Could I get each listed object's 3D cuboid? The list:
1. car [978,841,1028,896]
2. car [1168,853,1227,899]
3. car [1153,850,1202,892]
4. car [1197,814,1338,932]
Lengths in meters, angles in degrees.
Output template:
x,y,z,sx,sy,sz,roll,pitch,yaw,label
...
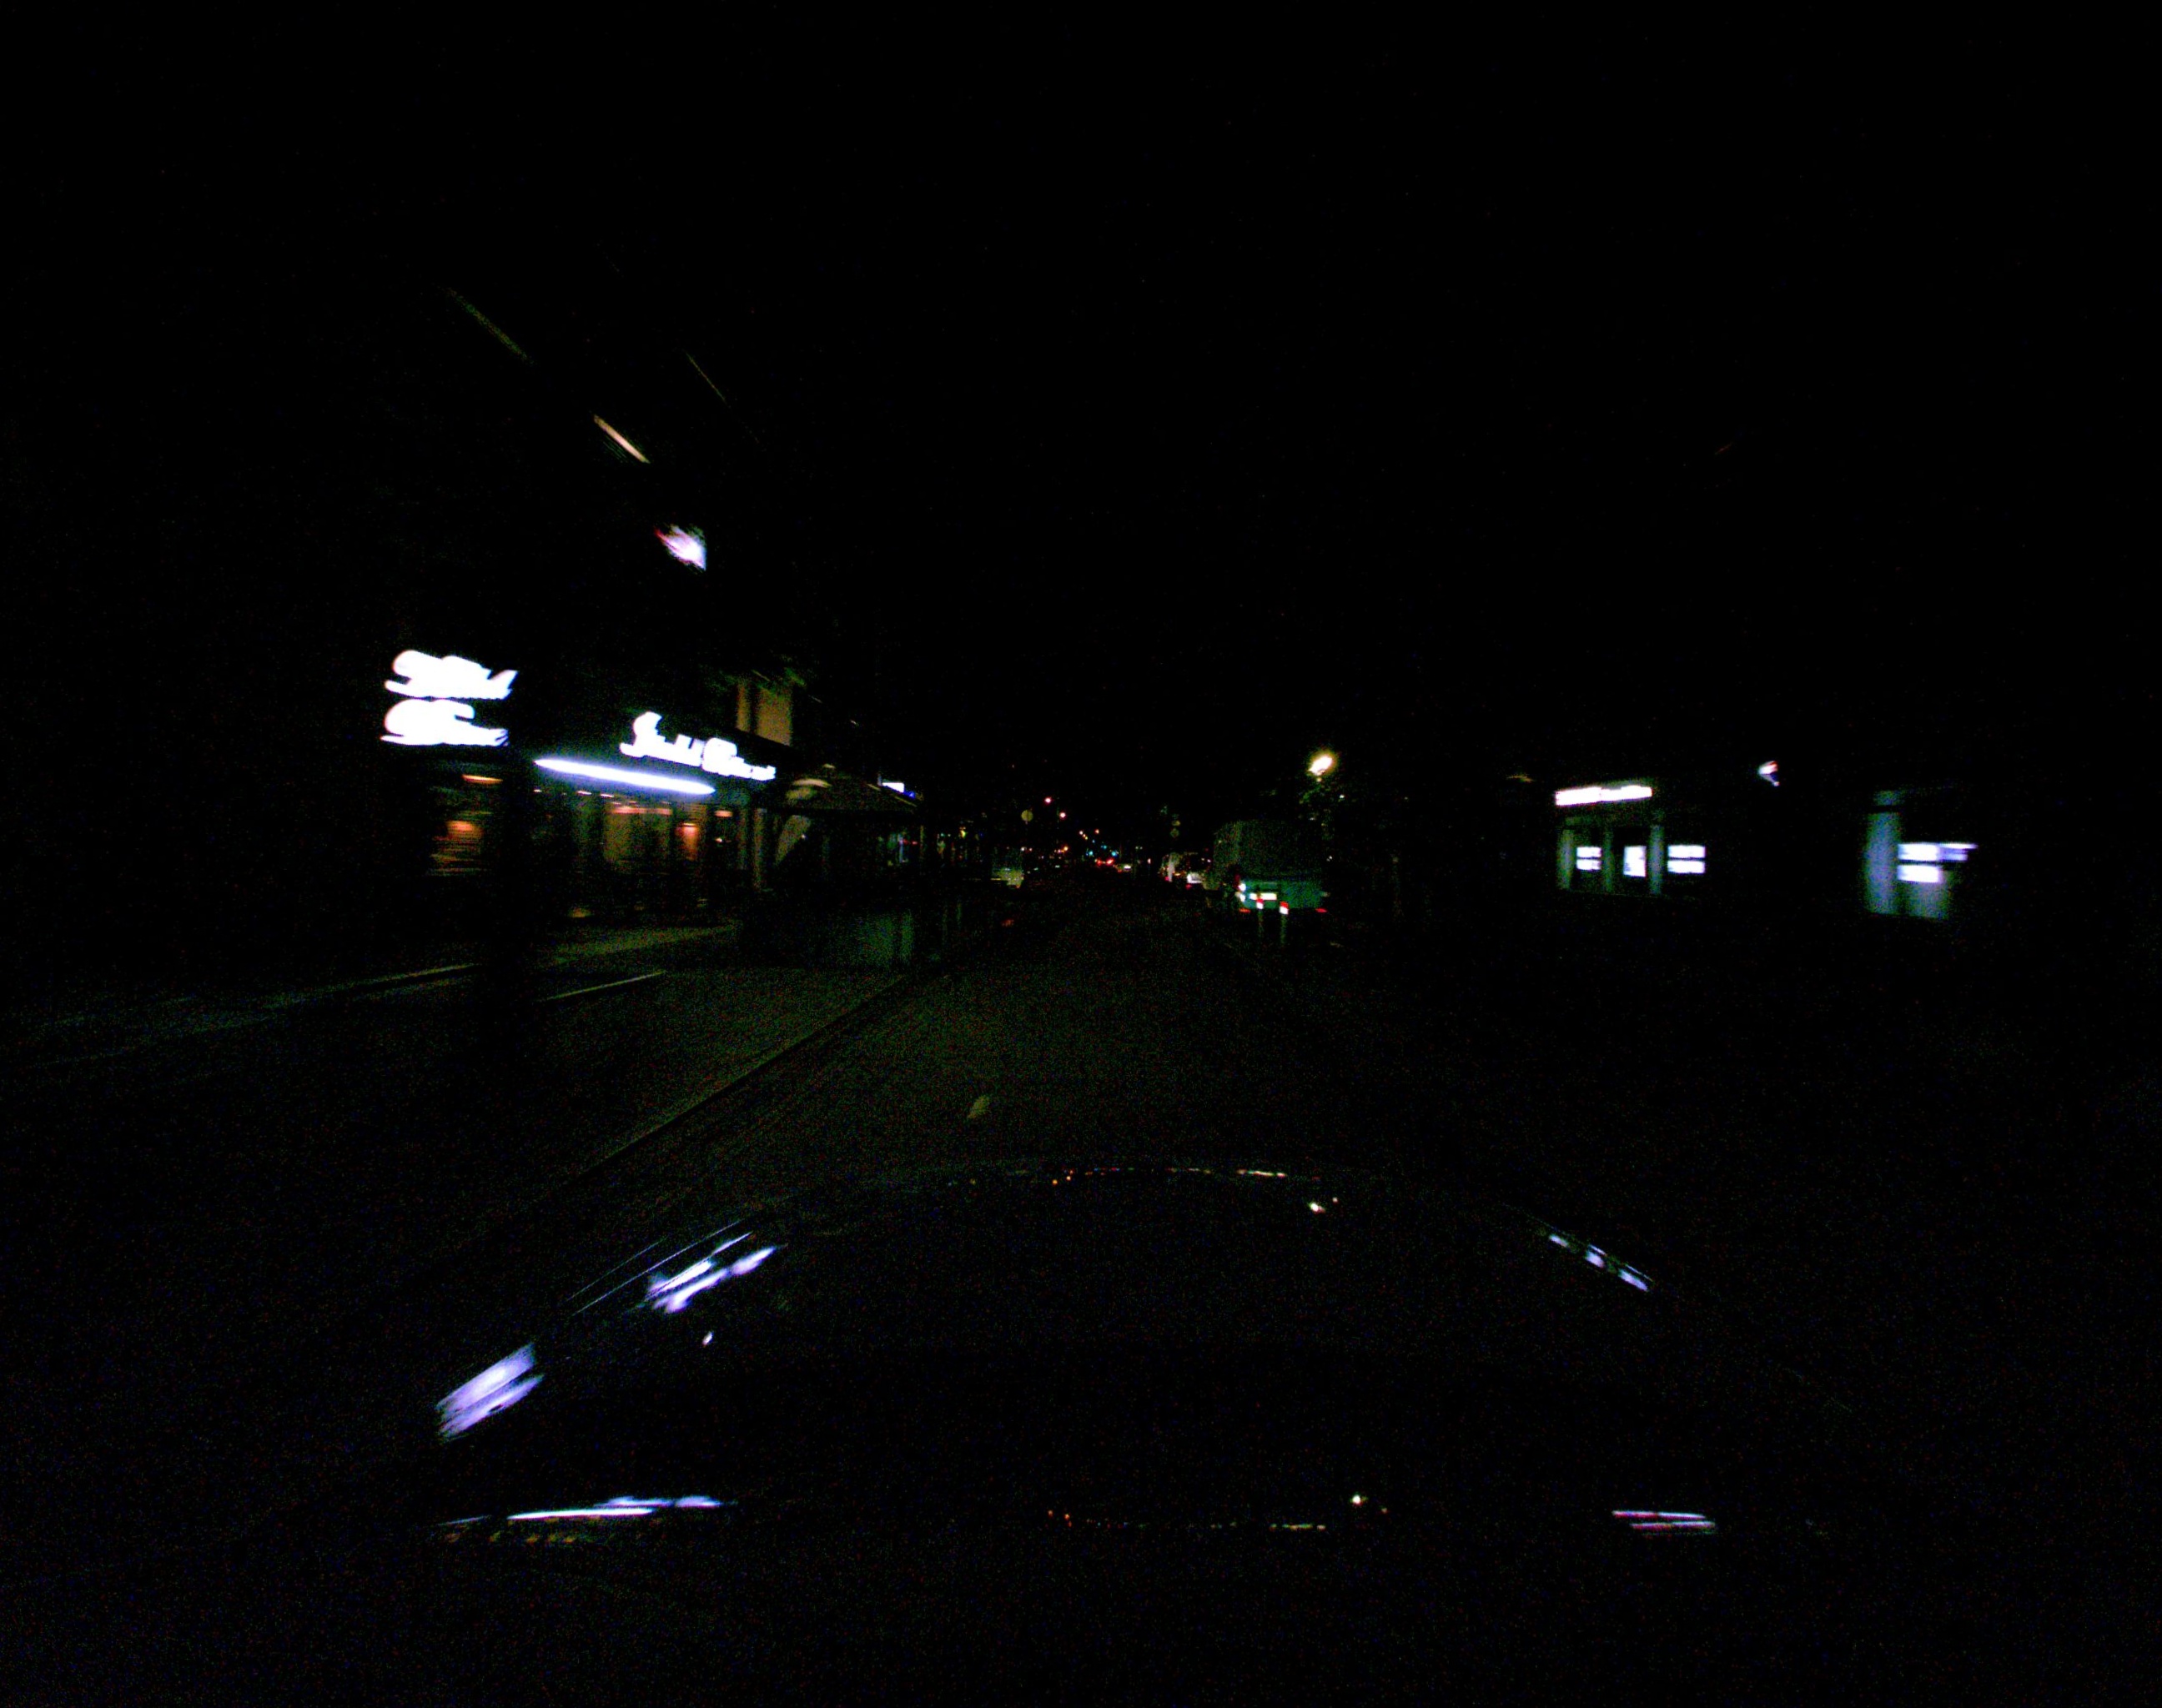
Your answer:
x,y,z,sx,sy,sz,roll,pitch,yaw,label
-3.265,0.597,34.912,1.849,2.087,5.083,3,0,-4,car
4.450,0.799,31.704,1.679,1.659,4.296,1,0,0,car
4.381,0.744,37.704,1.783,1.822,4.580,1,0,1,car
4.090,0.378,18.794,2.127,2.326,5.152,1,0,1,car
